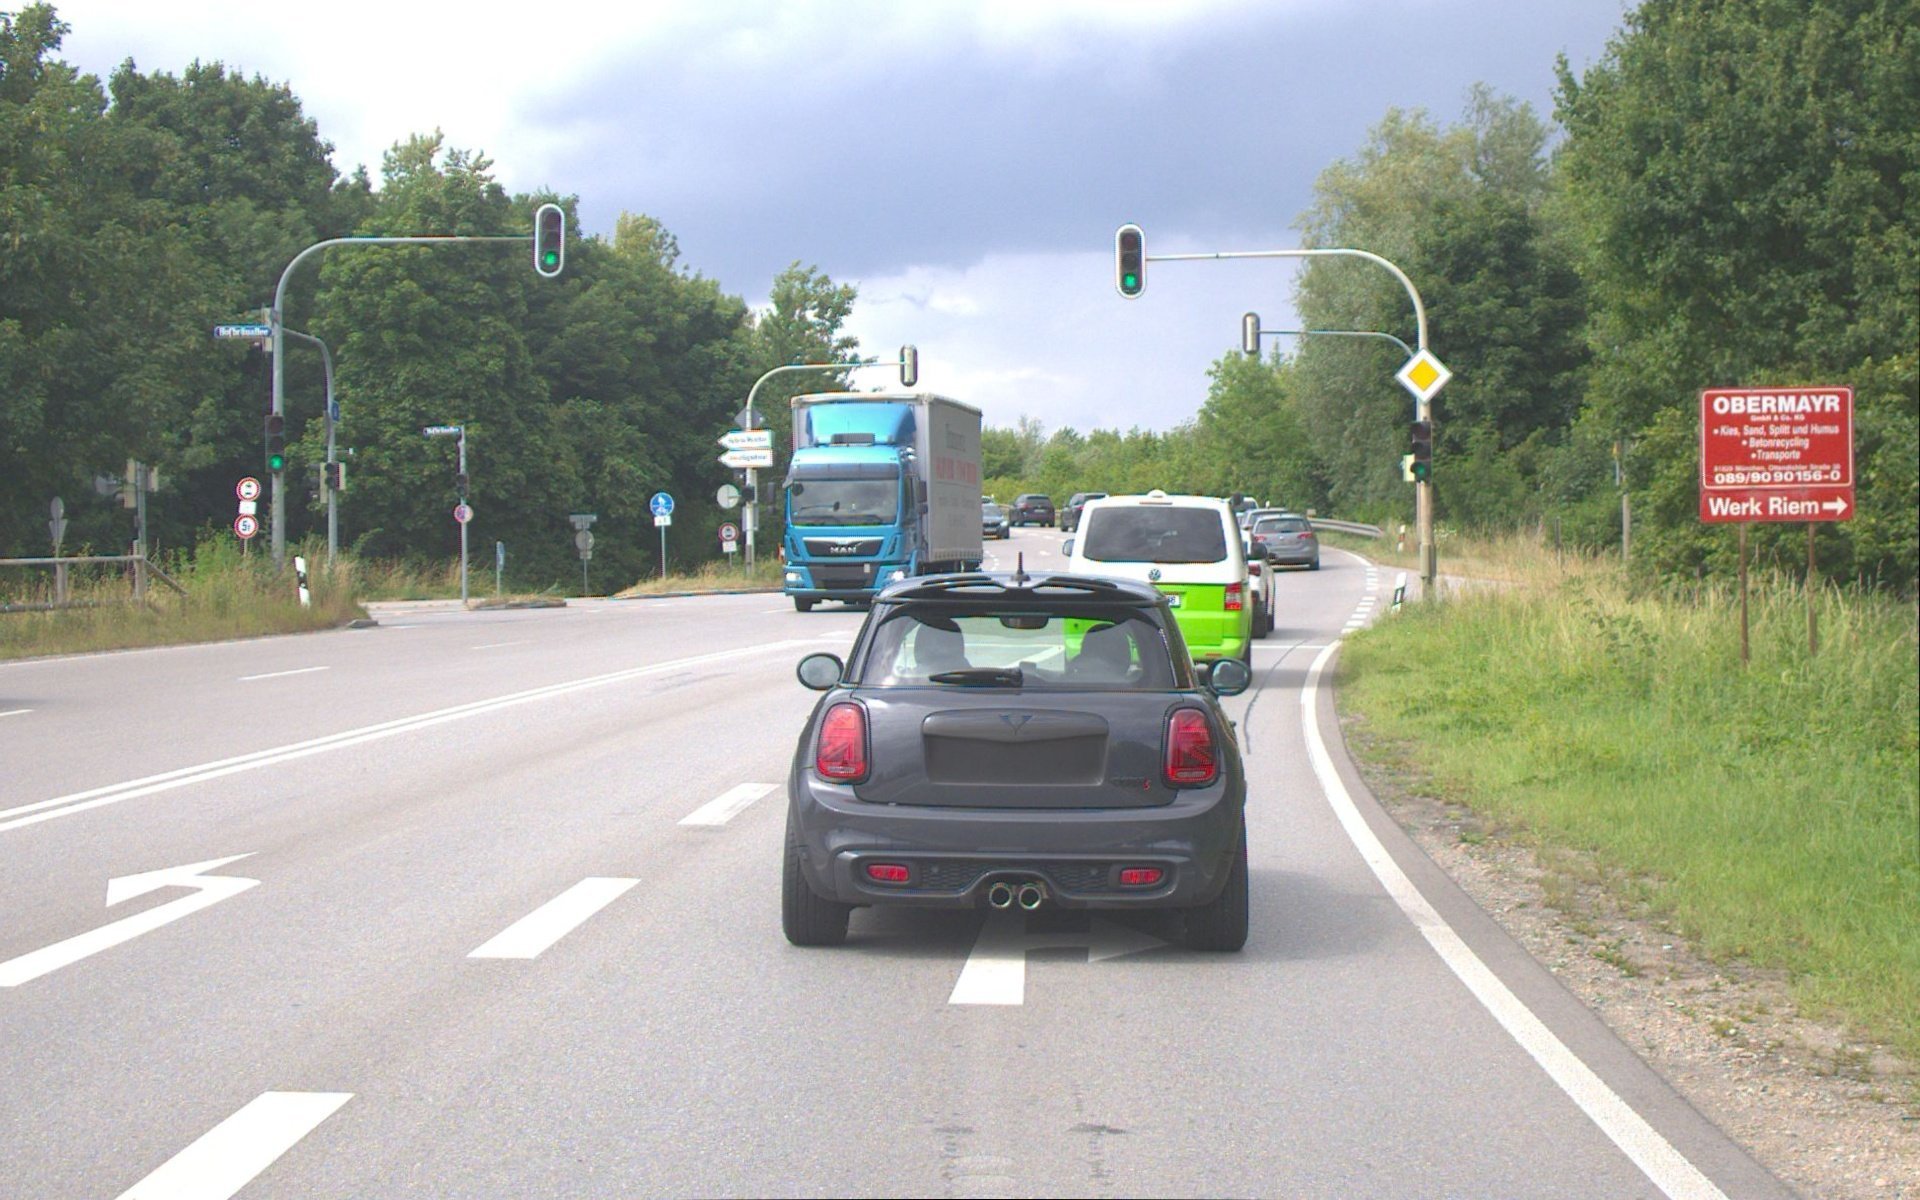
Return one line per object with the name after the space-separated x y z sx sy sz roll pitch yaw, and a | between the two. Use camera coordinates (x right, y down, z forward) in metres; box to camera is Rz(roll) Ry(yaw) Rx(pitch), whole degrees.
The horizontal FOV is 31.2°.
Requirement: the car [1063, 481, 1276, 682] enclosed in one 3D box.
2.262 -0.207 36.232 1.845 1.980 3.839 1 1 9 | car

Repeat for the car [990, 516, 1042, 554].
2.433 -2.818 148.983 1.788 1.525 4.902 -2 1 6 | car

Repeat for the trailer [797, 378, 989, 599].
-1.224 -2.125 67.033 2.528 4.087 6.732 0 1 10 | trailer

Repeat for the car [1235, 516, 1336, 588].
8.245 -1.189 86.869 1.995 1.678 3.997 1 -1 13 | car

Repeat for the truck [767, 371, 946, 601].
-1.864 -2.065 63.300 2.541 4.082 3.998 0 1 10 | truck

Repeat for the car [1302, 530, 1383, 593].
11.042 -1.080 98.978 1.994 1.678 3.975 1 -1 11 | car

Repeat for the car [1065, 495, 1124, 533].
6.149 -3.948 158.182 1.993 1.690 4.487 0 1 -7 | car

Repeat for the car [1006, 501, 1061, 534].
3.709 -4.187 174.829 1.993 1.690 4.487 0 1 -9 | car

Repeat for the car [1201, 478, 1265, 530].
9.734 -3.414 122.734 1.993 1.678 4.000 1 -1 1 | car

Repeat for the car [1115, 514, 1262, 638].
3.249 -0.340 48.842 1.994 1.678 3.999 0 0 4 | car

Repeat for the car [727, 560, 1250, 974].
0.165 0.571 14.131 1.845 1.423 3.841 1 1 2 | car
